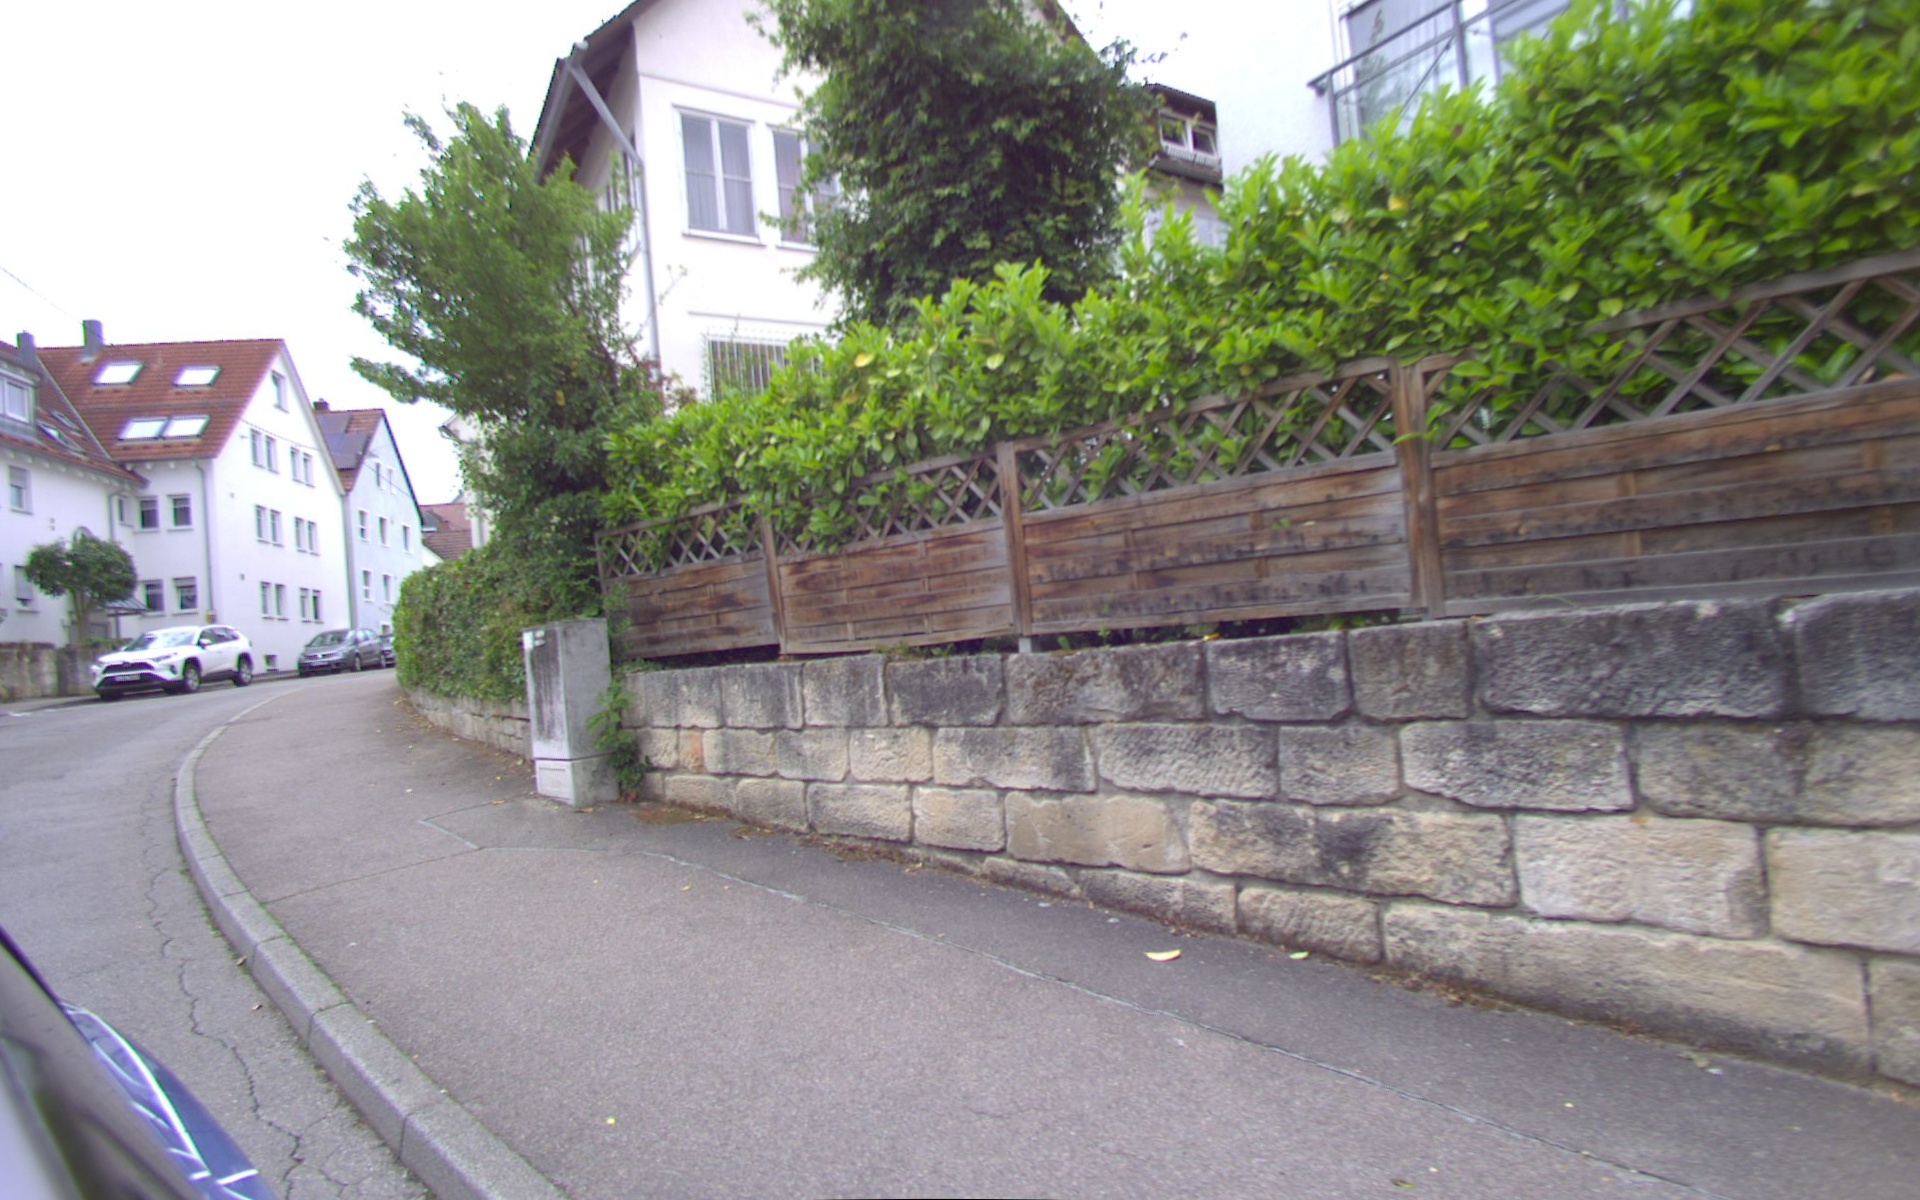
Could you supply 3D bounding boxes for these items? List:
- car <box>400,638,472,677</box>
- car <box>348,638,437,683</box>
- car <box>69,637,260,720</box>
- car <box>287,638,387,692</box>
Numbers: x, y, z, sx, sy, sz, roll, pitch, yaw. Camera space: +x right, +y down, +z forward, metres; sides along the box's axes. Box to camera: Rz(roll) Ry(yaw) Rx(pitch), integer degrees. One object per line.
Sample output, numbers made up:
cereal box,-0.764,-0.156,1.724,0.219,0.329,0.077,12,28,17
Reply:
car,-23.415,2.576,45.374,1.703,1.453,4.275,-7,-1,-12
car,-22.476,2.362,40.234,1.785,1.453,3.967,-7,0,-10
car,-19.458,1.857,25.040,1.920,1.651,4.471,-6,-1,-13
car,-21.498,2.203,35.089,1.712,1.575,3.918,-7,-1,-14
